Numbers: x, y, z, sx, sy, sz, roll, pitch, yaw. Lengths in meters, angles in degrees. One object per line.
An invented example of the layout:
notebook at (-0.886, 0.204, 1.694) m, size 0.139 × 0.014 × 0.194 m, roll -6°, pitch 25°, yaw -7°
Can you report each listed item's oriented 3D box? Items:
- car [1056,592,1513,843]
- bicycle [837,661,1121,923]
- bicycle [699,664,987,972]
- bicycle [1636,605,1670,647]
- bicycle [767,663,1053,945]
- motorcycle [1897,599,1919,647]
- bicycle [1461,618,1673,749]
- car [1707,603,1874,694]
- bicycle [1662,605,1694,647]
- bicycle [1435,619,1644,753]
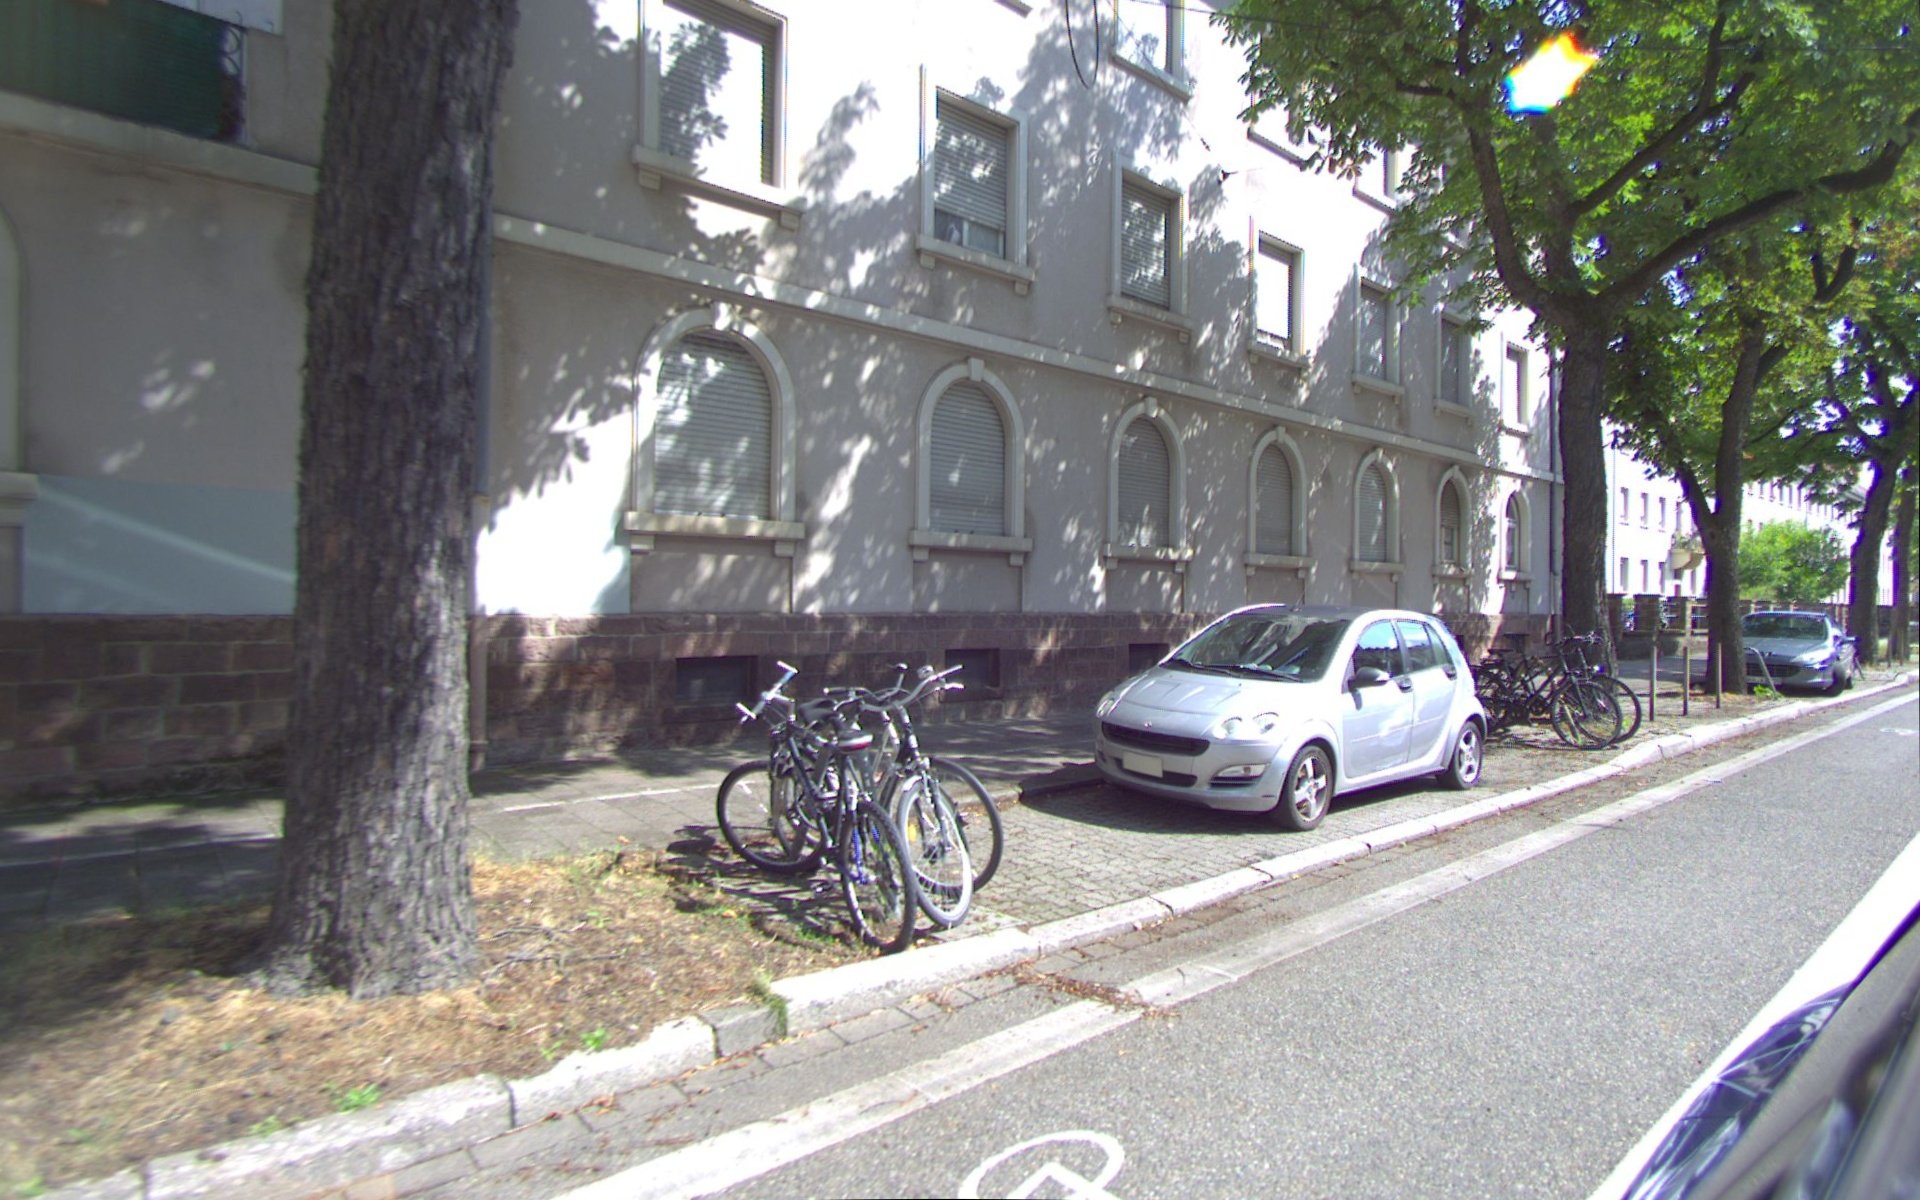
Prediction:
car at (2.655, 0.706, 7.904) m, size 3.699 × 1.448 × 1.670 m, roll 0°, pitch 2°, yaw -40°
bicycle at (0.020, 0.924, 5.467) m, size 0.395 × 1.085 × 1.907 m, roll 1°, pitch 0°, yaw -39°
bicycle at (-0.643, 0.906, 4.820) m, size 0.395 × 1.085 × 1.907 m, roll 1°, pitch 0°, yaw -39°
bicycle at (20.474, 0.753, 29.886) m, size 1.673 × 1.227 × 0.413 m, roll 1°, pitch -1°, yaw -40°
bicycle at (-0.339, 0.916, 5.147) m, size 0.395 × 1.085 × 1.907 m, roll 1°, pitch 0°, yaw -39°
motorcycle at (32.749, 0.791, 33.902) m, size 0.667 × 1.617 × 2.384 m, roll 0°, pitch 0°, yaw 5°
bicycle at (6.397, 0.827, 10.790) m, size 0.503 × 1.190 × 1.946 m, roll 0°, pitch 1°, yaw -28°
car at (15.435, 0.797, 18.727) m, size 4.321 × 1.427 × 1.848 m, roll 0°, pitch 2°, yaw -44°
bicycle at (21.971, 0.784, 30.964) m, size 1.673 × 1.227 × 0.413 m, roll 1°, pitch -1°, yaw -40°
bicycle at (5.955, 0.828, 10.533) m, size 0.503 × 1.190 × 1.903 m, roll 0°, pitch 1°, yaw -28°
